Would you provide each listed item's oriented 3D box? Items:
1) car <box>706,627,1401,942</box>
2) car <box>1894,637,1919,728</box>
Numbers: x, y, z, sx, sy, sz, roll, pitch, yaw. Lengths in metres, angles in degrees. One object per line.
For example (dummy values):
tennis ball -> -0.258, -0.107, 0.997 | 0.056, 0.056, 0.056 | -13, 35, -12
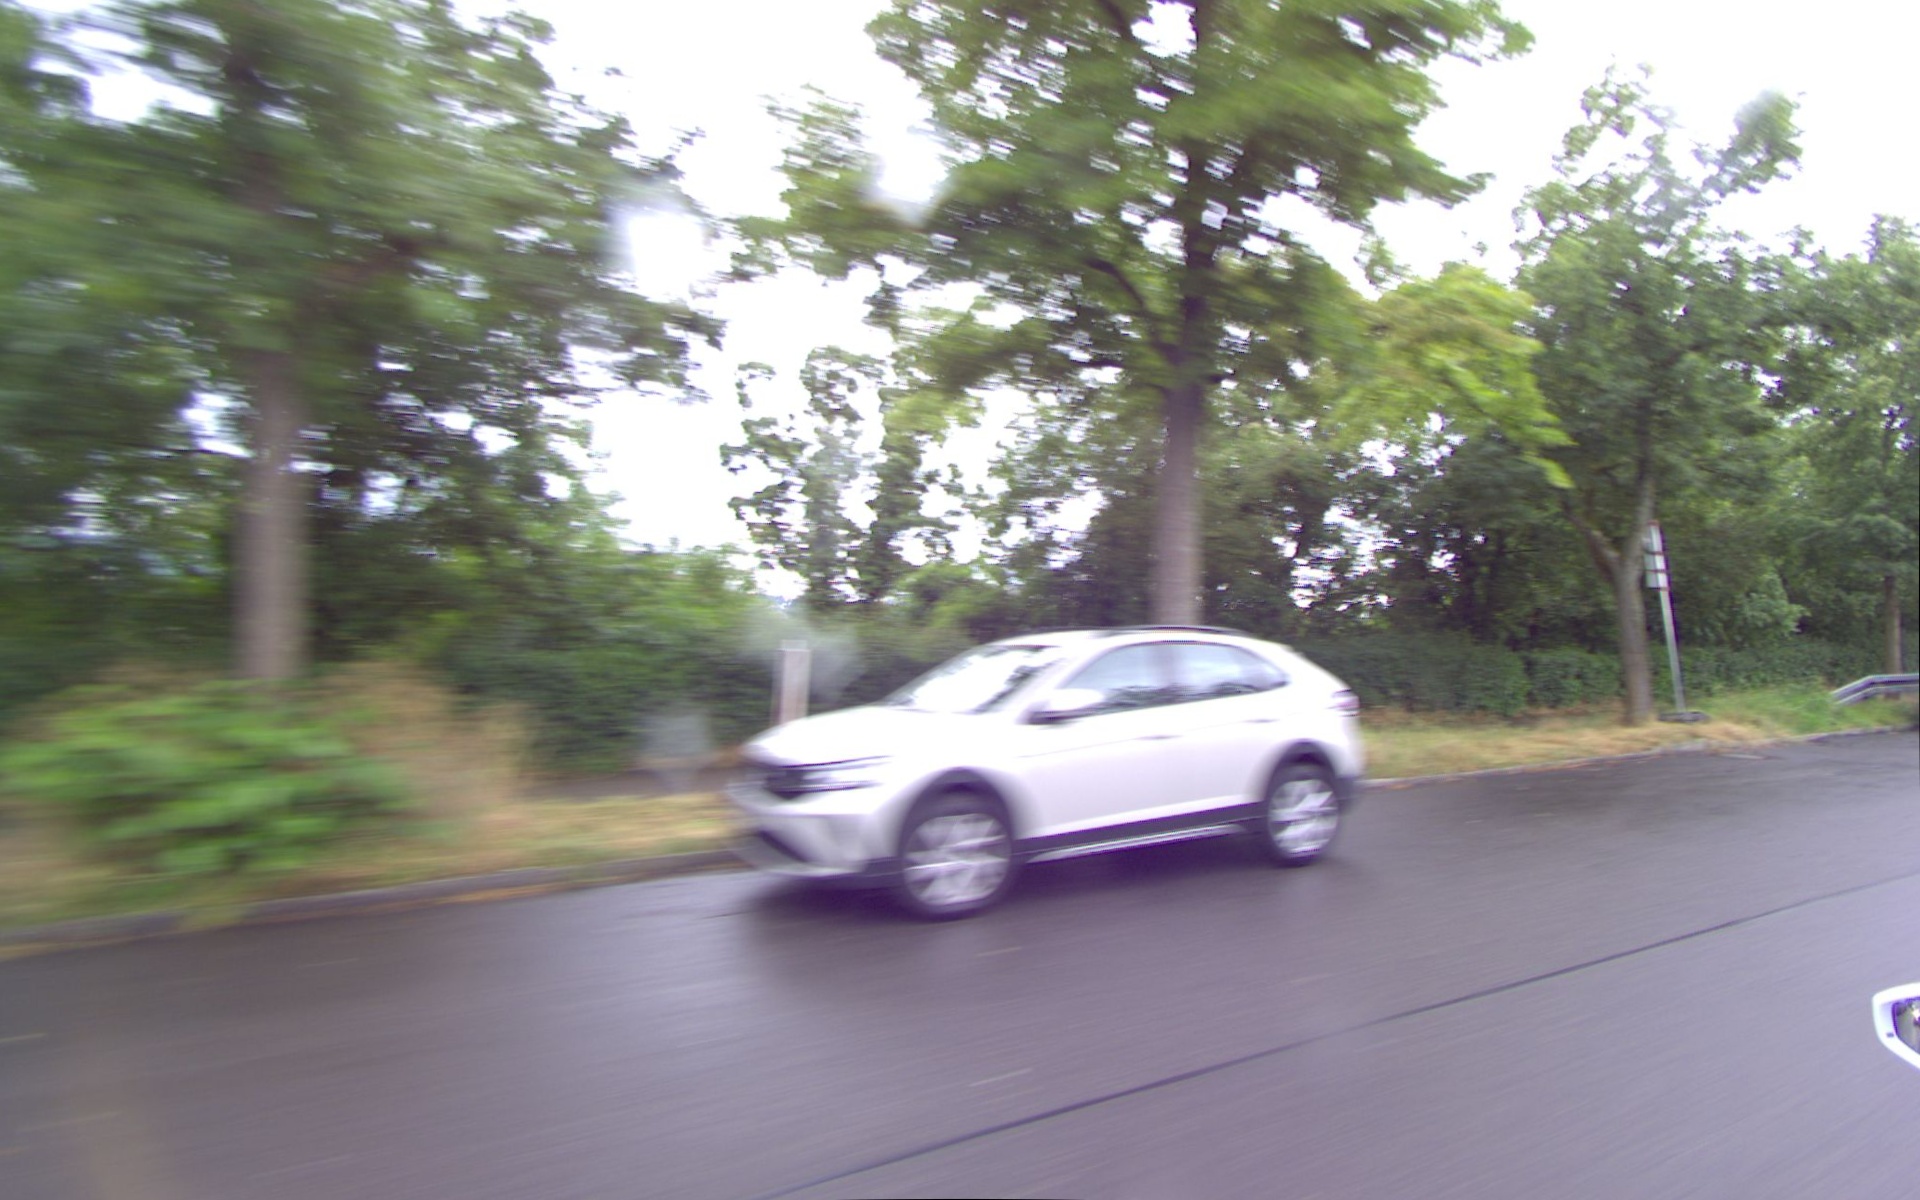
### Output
car -> 0.678, 0.955, 6.423 | 4.202, 1.456, 1.683 | 2, -4, -28
car -> 17.392, 1.359, 16.582 | 4.207, 1.456, 1.789 | 2, -2, -31
